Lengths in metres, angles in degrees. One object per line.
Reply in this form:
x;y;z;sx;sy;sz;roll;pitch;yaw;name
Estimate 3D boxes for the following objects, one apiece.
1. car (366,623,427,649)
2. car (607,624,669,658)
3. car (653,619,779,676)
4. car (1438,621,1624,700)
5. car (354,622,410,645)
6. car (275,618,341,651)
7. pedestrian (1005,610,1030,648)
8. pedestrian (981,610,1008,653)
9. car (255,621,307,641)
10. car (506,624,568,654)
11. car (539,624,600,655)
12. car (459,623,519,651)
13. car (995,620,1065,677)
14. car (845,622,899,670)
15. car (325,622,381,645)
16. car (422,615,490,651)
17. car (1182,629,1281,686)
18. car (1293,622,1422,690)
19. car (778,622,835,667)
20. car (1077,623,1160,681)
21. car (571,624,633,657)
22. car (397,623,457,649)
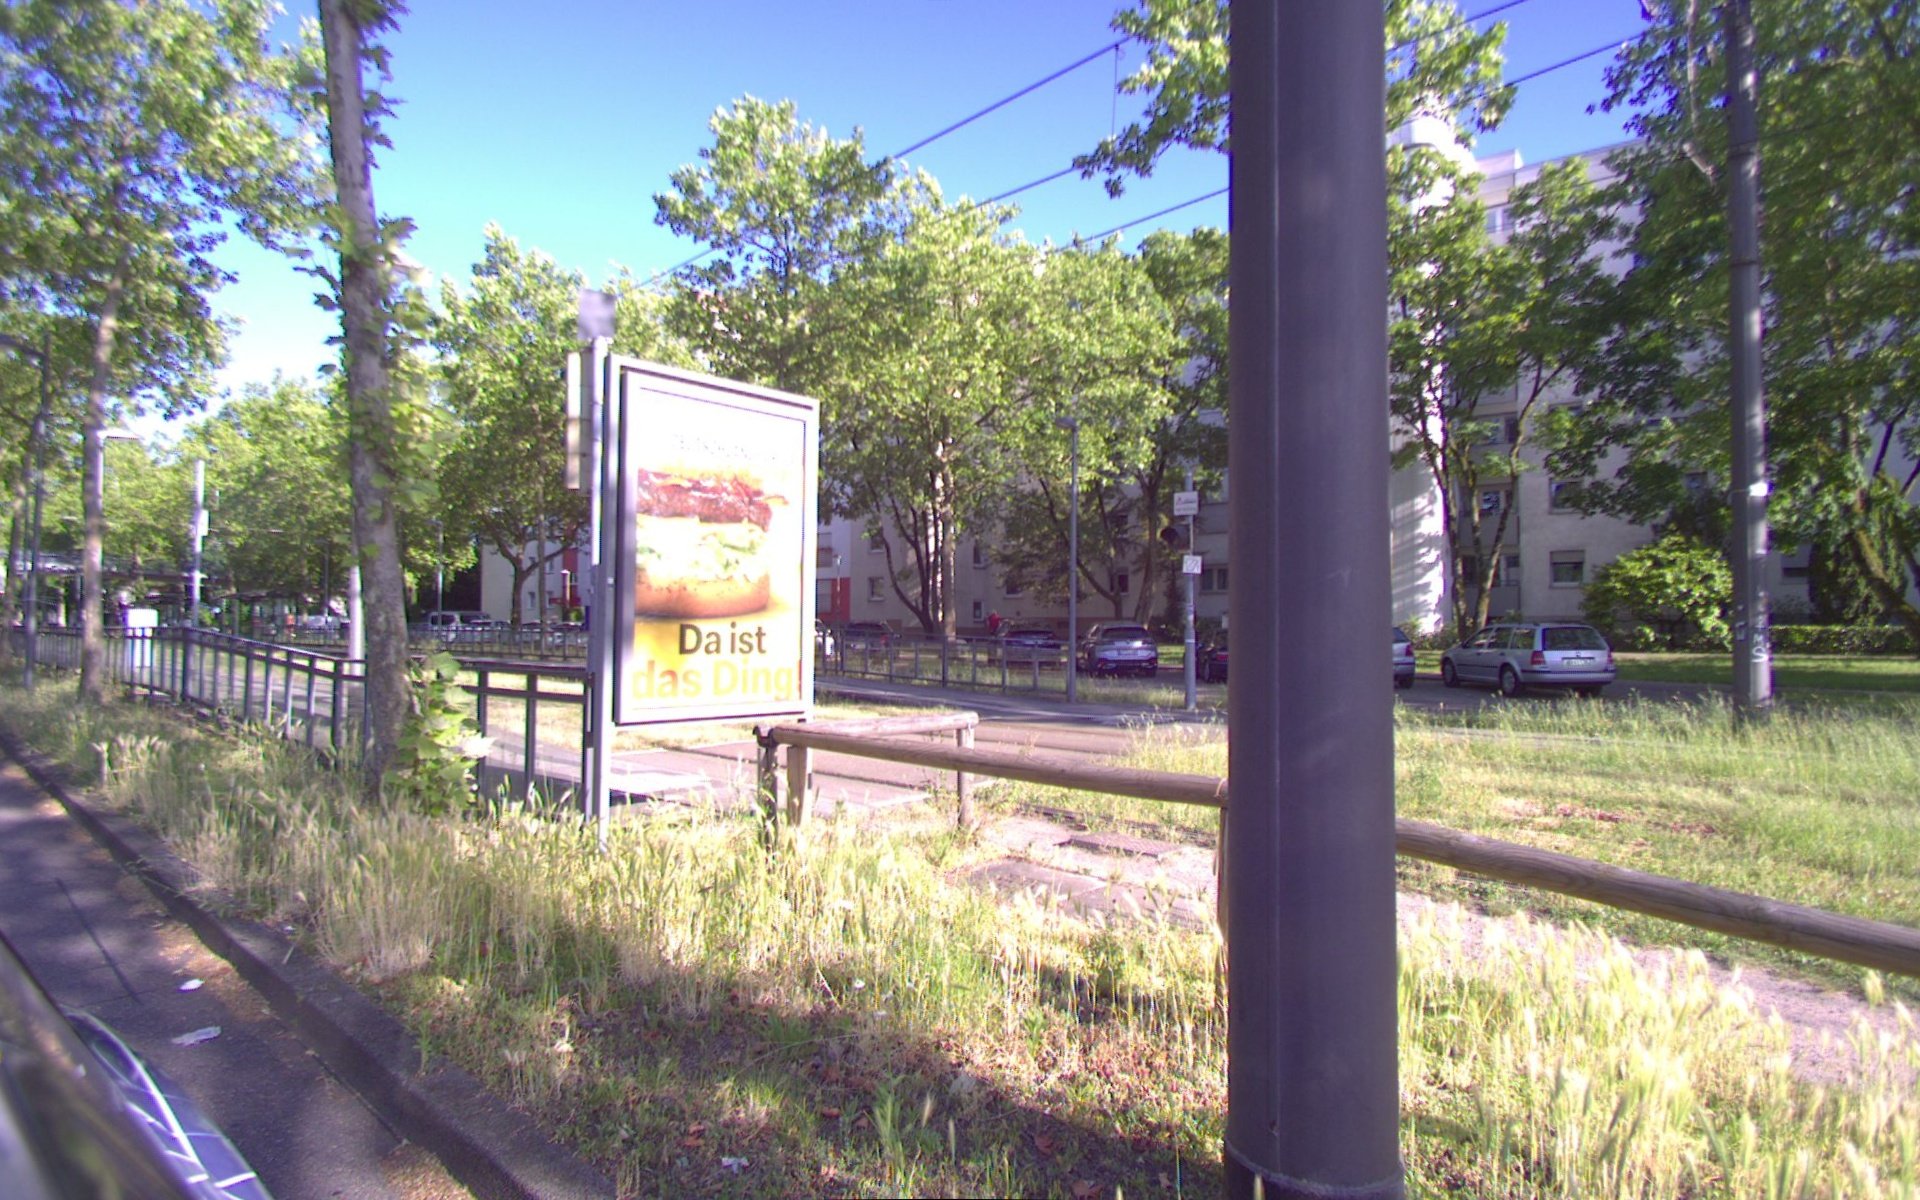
-33.686;2.120;60.602;1.633;1.452;3.805;-1;-1;-2;car
-14.055;1.770;44.336;1.633;1.366;3.805;-1;-1;-2;car
-7.595;1.413;31.275;4.293;1.631;1.634;-2;-1;42;car
11.481;1.164;20.663;1.559;1.413;3.906;-1;-1;0;car
-37.876;2.179;66.378;1.633;1.452;3.805;-1;-1;-2;car
-38.054;2.000;59.009;4.896;1.835;1.809;-1;-1;39;car
2.490;1.247;43.827;0.786;1.635;0.755;-1;0;39;pedestrian
1.417;1.284;41.472;0.786;1.745;0.755;-1;0;39;pedestrian
-53.042;2.409;79.153;1.633;1.452;3.805;-1;-1;-2;car
-21.329;1.945;51.183;1.633;1.452;3.805;-1;-1;-2;car
-19.037;1.902;49.539;1.633;1.452;3.805;-1;-1;-2;car
-25.863;2.005;55.659;1.633;1.452;3.805;-1;-1;-2;car
1.991;1.358;29.666;1.633;1.522;3.805;-1;-1;-2;car
-2.968;1.531;34.648;1.633;1.522;3.805;-1;-1;-2;car
-40.830;2.233;68.191;1.633;1.452;3.805;-1;-1;-2;car
-28.444;1.830;57.253;1.814;1.888;4.323;-1;-1;-2;car
6.682;1.381;25.276;1.445;1.234;3.815;-1;-1;0;car
9.150;1.242;23.589;1.559;1.413;3.638;-1;-1;0;car
-5.558;1.573;37.017;1.633;1.522;3.805;-1;-1;-2;car
4.225;1.368;27.518;1.633;1.413;3.803;-1;-1;0;car
-16.618;1.860;47.158;1.633;1.452;3.805;-1;-1;-2;car
-31.323;2.089;59.598;1.633;1.452;3.805;-1;-1;-2;car
